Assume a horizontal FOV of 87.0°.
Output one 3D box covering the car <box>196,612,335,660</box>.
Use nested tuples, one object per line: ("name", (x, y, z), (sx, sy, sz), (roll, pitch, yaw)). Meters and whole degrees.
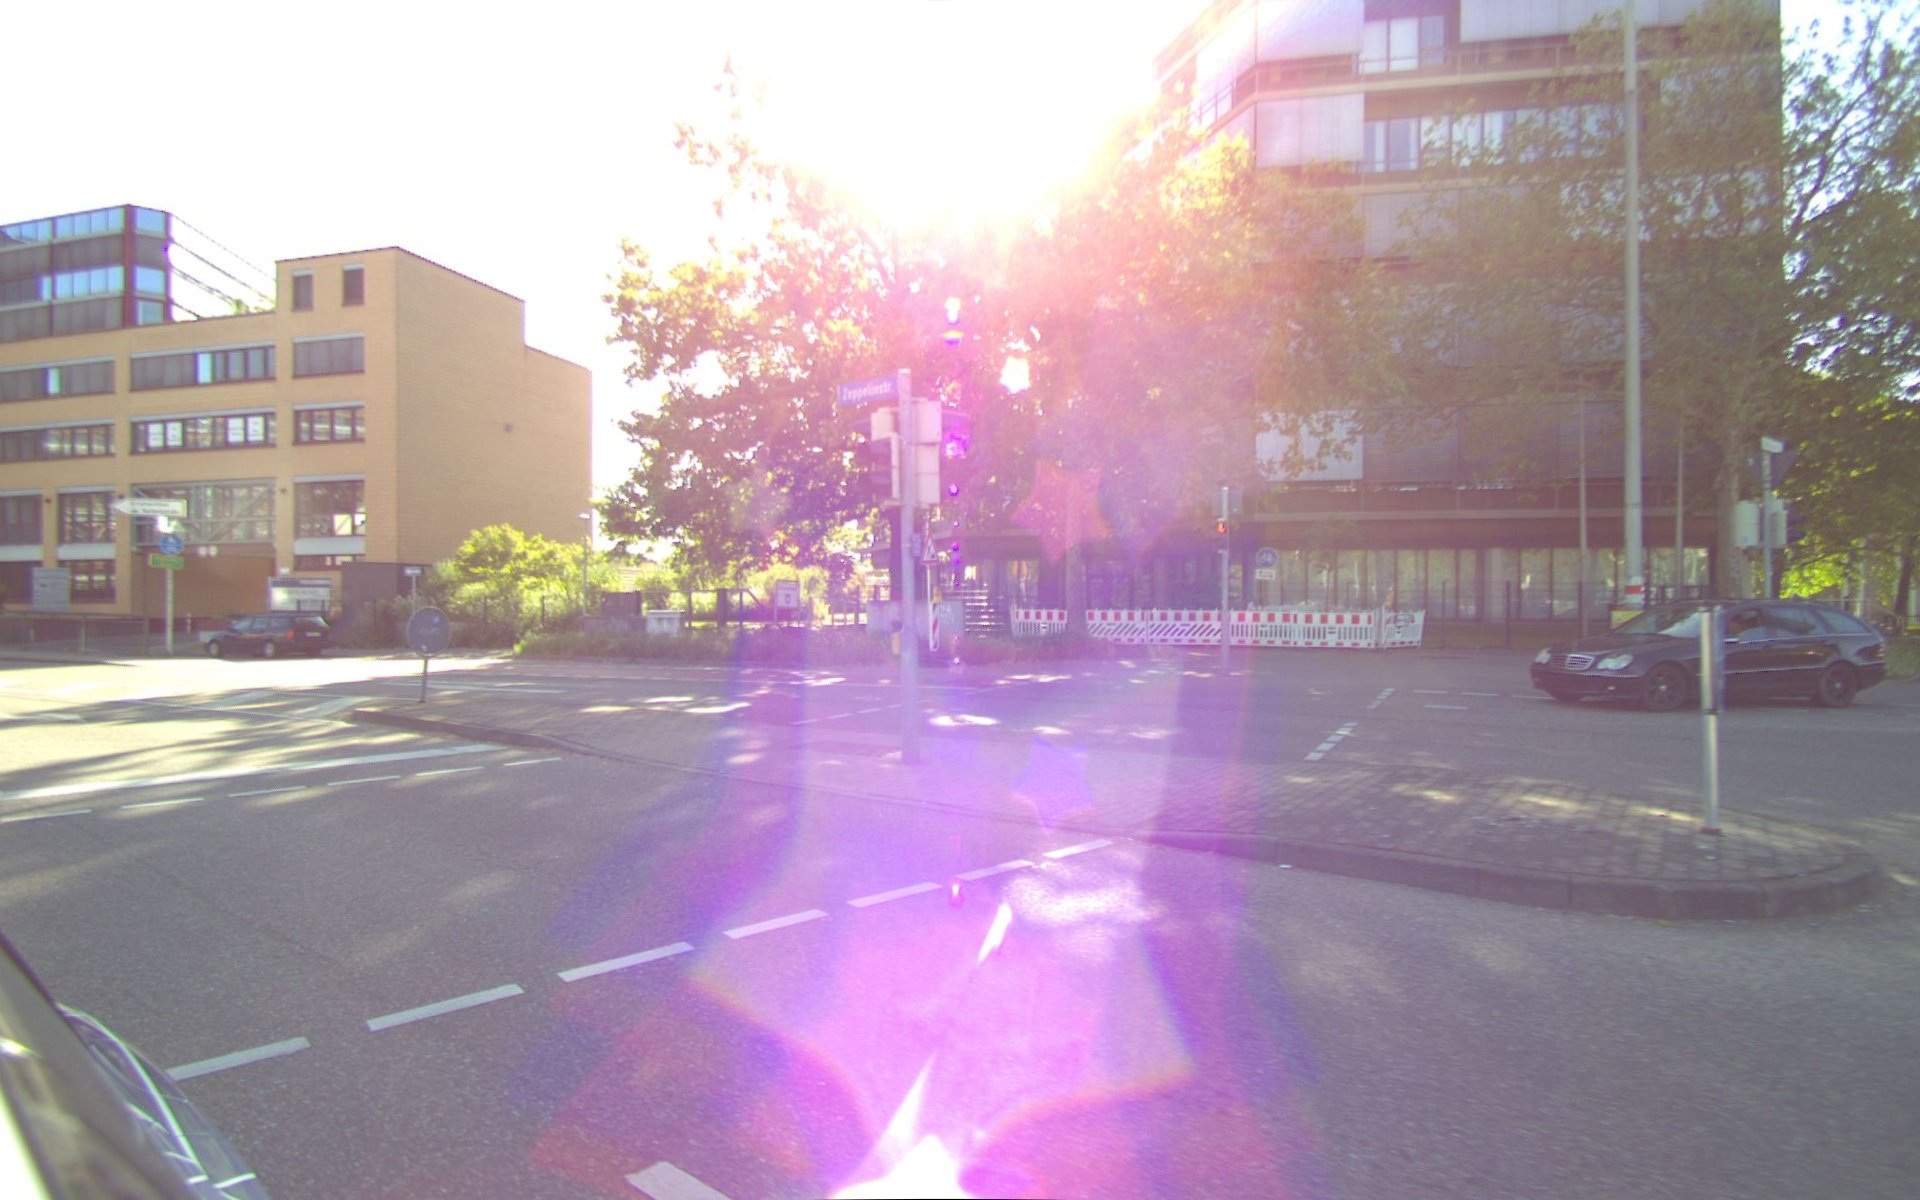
("car", (-23.482, 1.232, 34.234), (4.345, 1.520, 1.649), (-2, -3, 20))

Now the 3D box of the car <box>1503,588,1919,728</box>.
("car", (10.016, 0.688, 13.524), (4.705, 1.633, 1.957), (-1, 0, -13))
